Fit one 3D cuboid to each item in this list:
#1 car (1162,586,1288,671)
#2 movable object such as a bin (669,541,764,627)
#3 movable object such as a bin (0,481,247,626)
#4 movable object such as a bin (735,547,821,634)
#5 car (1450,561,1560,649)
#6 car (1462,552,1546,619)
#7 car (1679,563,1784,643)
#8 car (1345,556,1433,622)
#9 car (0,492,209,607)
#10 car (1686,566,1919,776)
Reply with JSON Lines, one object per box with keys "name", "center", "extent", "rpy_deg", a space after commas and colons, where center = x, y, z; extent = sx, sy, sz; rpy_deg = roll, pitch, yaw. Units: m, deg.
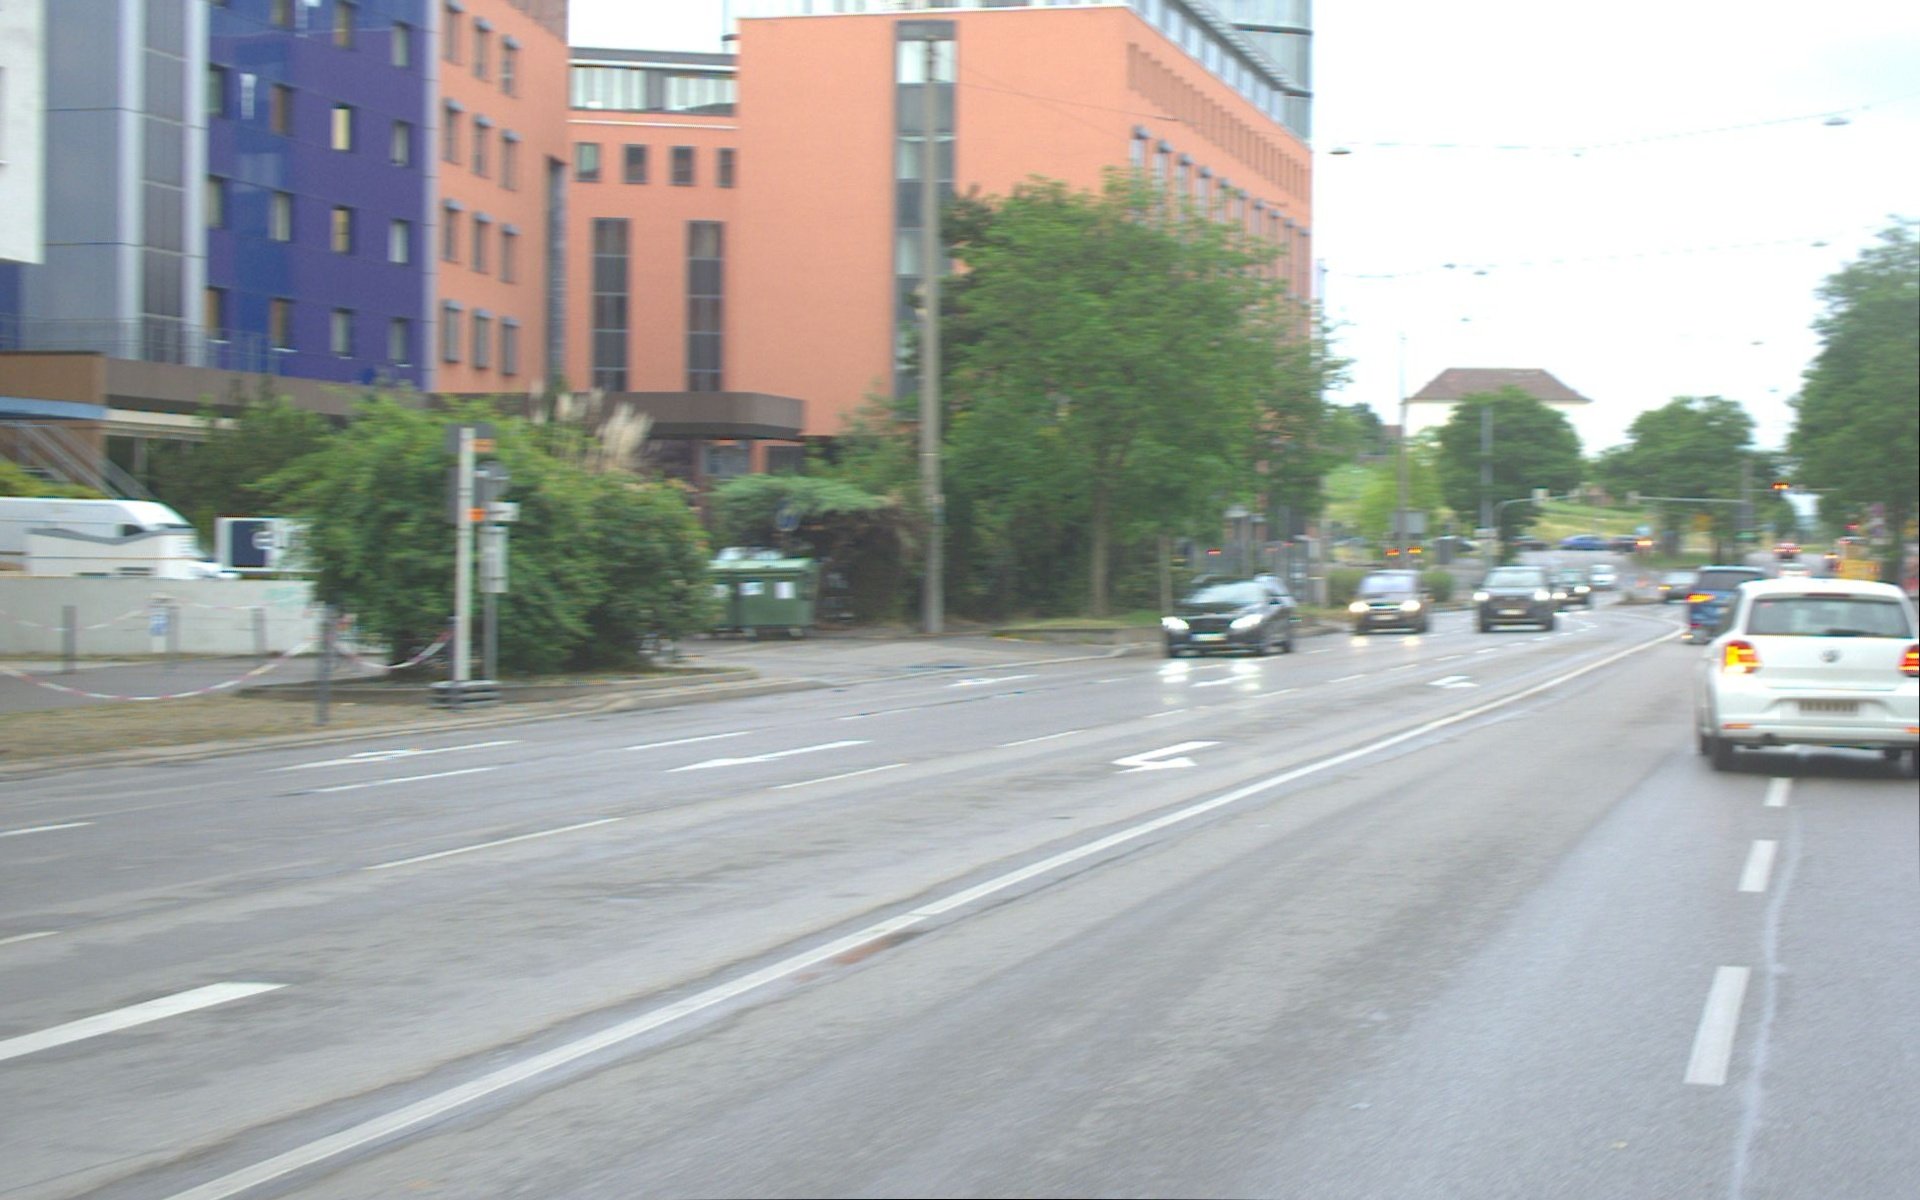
{"name": "car", "center": [4.889, 0.485, 62.936], "extent": [1.734, 1.472, 4.696], "rpy_deg": [0, 1, 11]}
{"name": "movable object such as a bin", "center": [-4.375, -0.275, 61.825], "extent": [1.392, 1.486, 0.950], "rpy_deg": [-2, -2, 25]}
{"name": "movable object such as a bin", "center": [-17.098, -0.882, 67.567], "extent": [5.629, 2.619, 2.160], "rpy_deg": [-1, -2, 14]}
{"name": "movable object such as a bin", "center": [-3.215, -0.157, 60.795], "extent": [1.390, 1.486, 0.951], "rpy_deg": [-1, -2, 4]}
{"name": "car", "center": [13.388, 0.147, 84.593], "extent": [1.993, 2.007, 4.000], "rpy_deg": [-1, -2, -1]}
{"name": "car", "center": [13.890, -0.387, 87.682], "extent": [1.757, 1.550, 4.448], "rpy_deg": [-1, 2, 13]}
{"name": "car", "center": [15.921, 0.051, 70.827], "extent": [1.995, 1.568, 3.997], "rpy_deg": [1, 1, 14]}
{"name": "car", "center": [10.929, -0.306, 87.491], "extent": [1.709, 1.561, 4.031], "rpy_deg": [-1, 1, 14]}
{"name": "car", "center": [-16.864, -0.931, 65.278], "extent": [4.715, 2.007, 1.891], "rpy_deg": [-1, -2, 14]}
{"name": "car", "center": [6.563, 0.491, 26.511], "extent": [1.671, 1.469, 3.778], "rpy_deg": [1, 1, 9]}
